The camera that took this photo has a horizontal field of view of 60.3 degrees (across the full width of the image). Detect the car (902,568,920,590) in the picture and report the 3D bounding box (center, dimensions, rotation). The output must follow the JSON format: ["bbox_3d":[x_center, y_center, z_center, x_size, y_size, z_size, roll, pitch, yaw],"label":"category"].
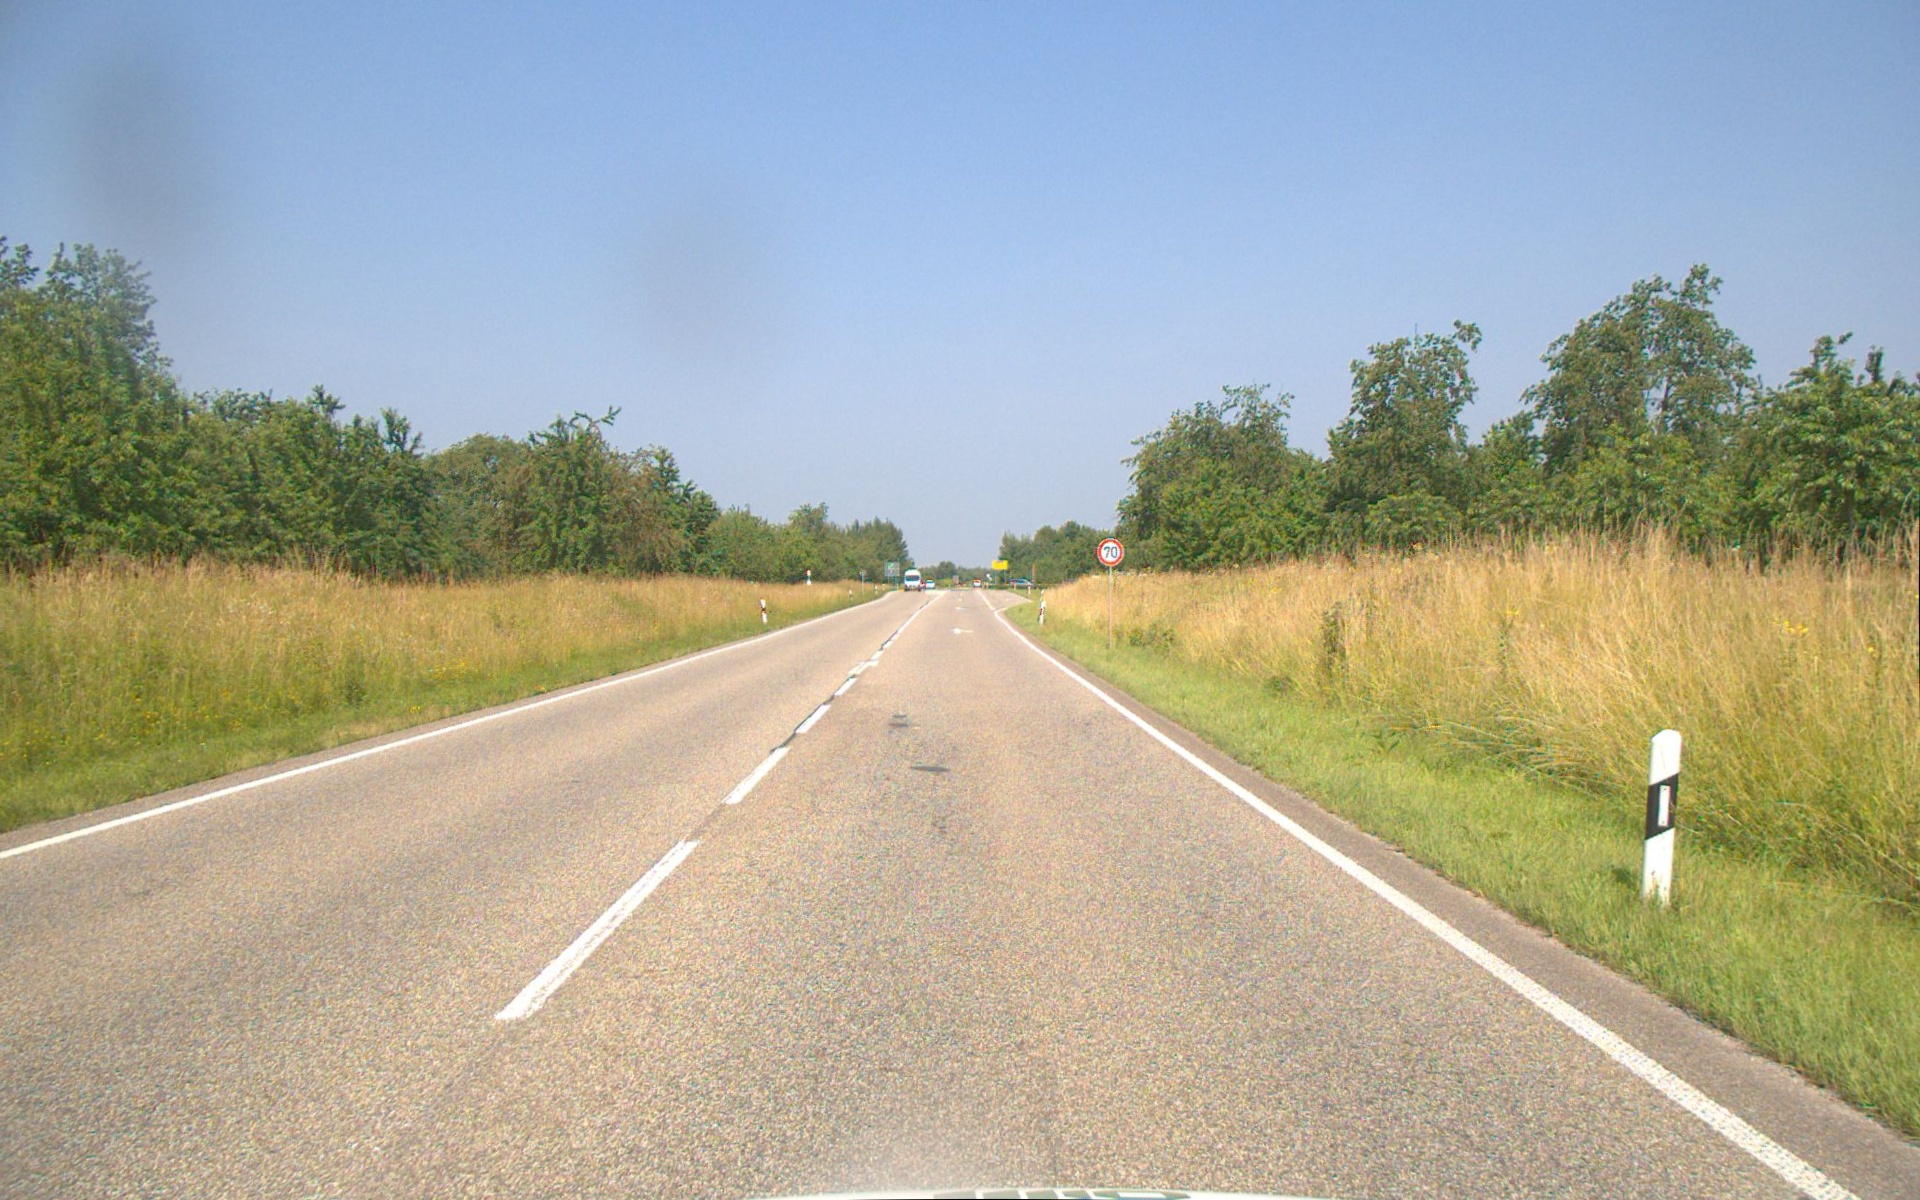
[{"bbox_3d":[-6.016,-2.550,204.160,2.117,2.715,6.142,0,0,-1],"label":"car"}]
